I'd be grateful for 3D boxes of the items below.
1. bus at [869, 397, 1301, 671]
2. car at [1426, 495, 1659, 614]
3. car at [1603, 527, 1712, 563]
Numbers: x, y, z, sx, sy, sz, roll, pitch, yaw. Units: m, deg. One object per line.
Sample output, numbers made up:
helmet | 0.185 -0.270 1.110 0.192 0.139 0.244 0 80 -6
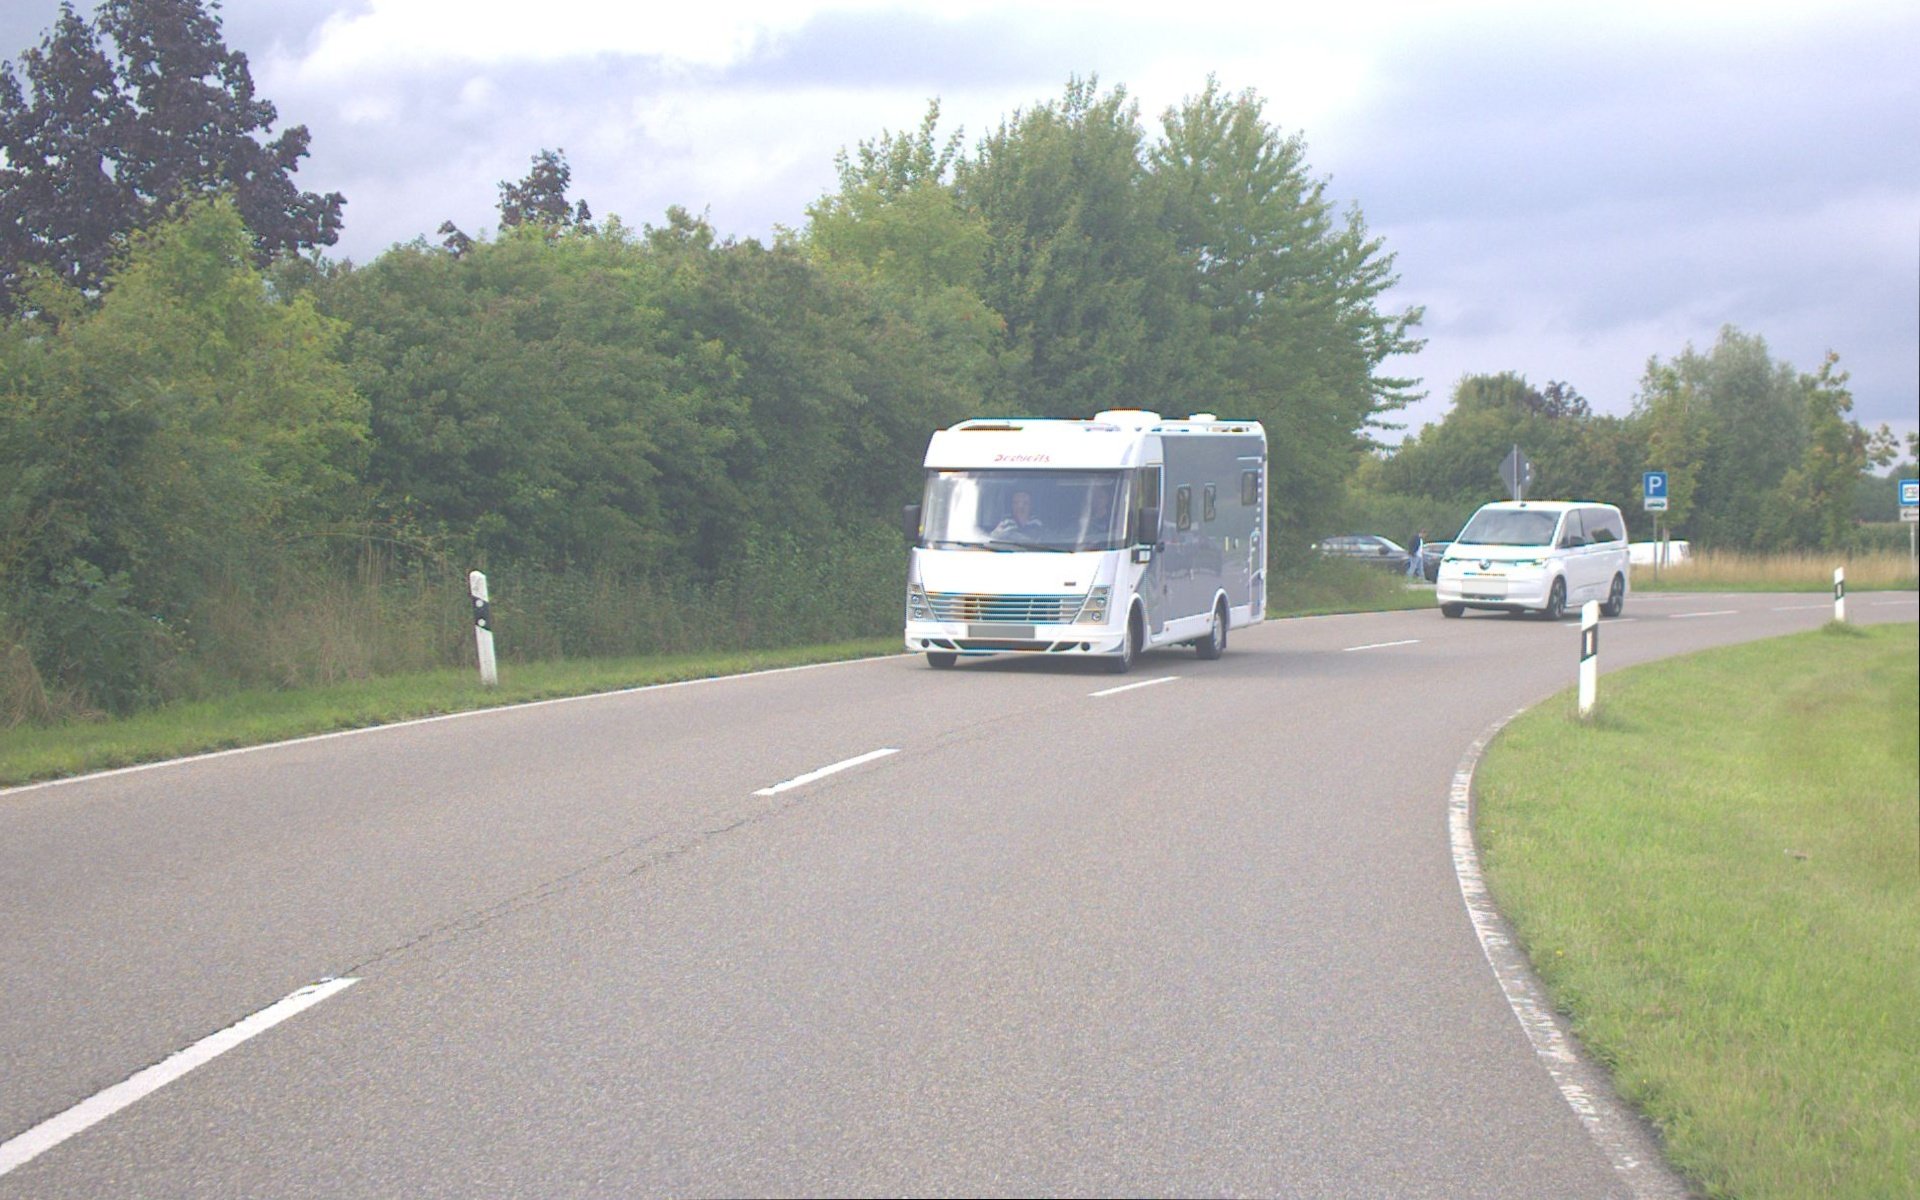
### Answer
bus | 1.616 -0.738 38.284 2.477 2.702 8.423 1 1 19
car | 9.639 -0.767 56.554 2.117 1.862 5.178 1 1 30
car | 27.232 -2.151 134.183 3.991 1.375 1.474 1 1 20
